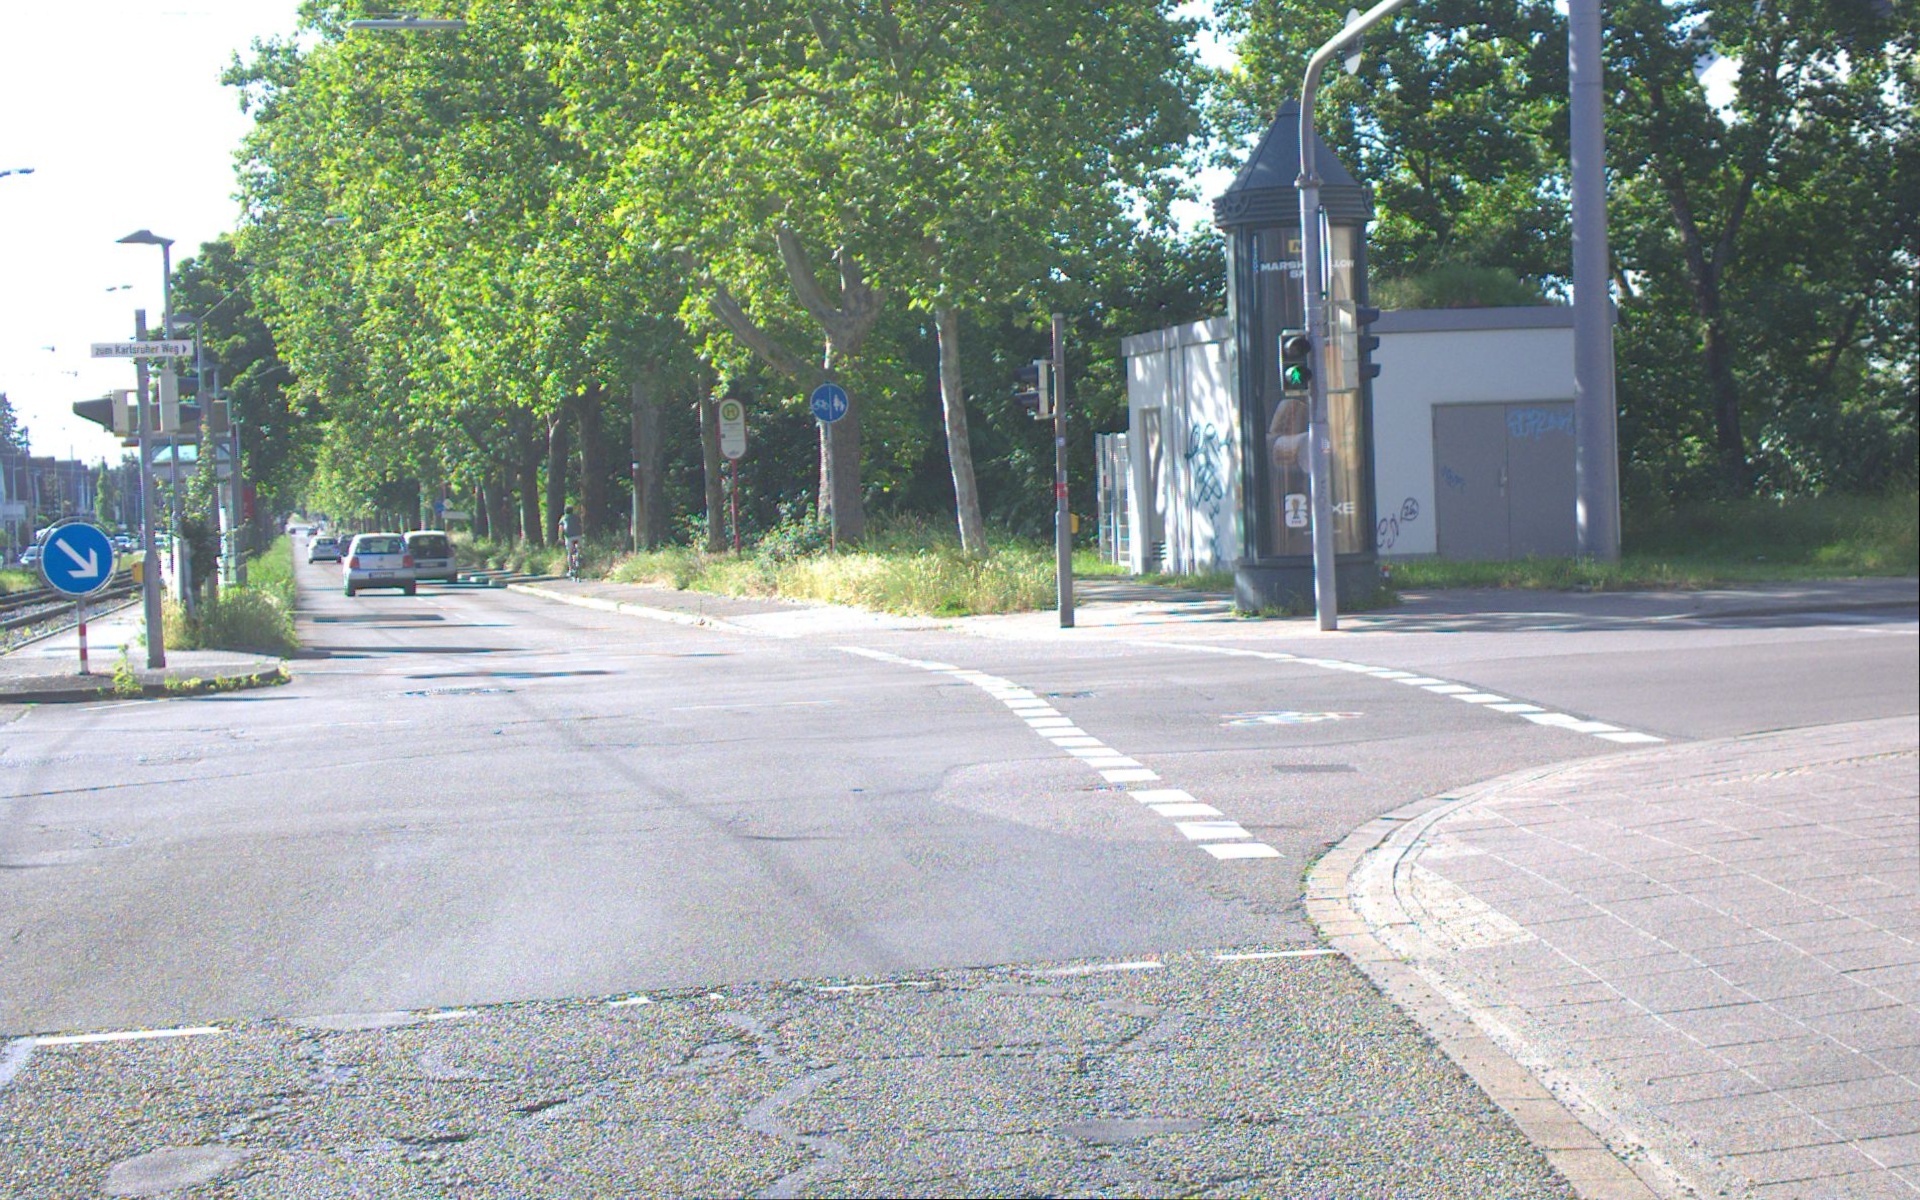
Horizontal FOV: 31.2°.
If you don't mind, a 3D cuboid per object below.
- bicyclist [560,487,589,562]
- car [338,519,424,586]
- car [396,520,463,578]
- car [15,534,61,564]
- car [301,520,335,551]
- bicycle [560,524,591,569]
[{"bbox_3d":[-9.253,-1.812,82.503,0.534,1.763,0.713,-3,1,-13],"label":"bicyclist"},{"bbox_3d":[-13.547,-1.124,80.360,1.867,1.481,3.556,-2,1,-11],"label":"car"},{"bbox_3d":[-15.438,-1.502,99.899,1.750,1.599,3.751,-2,2,-11],"label":"car"},{"bbox_3d":[-47.223,-2.610,176.195,1.993,1.464,4.378,-2,1,-12],"label":"car"},{"bbox_3d":[-35.734,-3.595,191.369,1.750,1.599,3.582,-3,2,-12],"label":"car"},{"bbox_3d":[-9.213,-1.287,82.433,0.536,1.062,1.434,-3,2,-13],"label":"bicycle"}]
